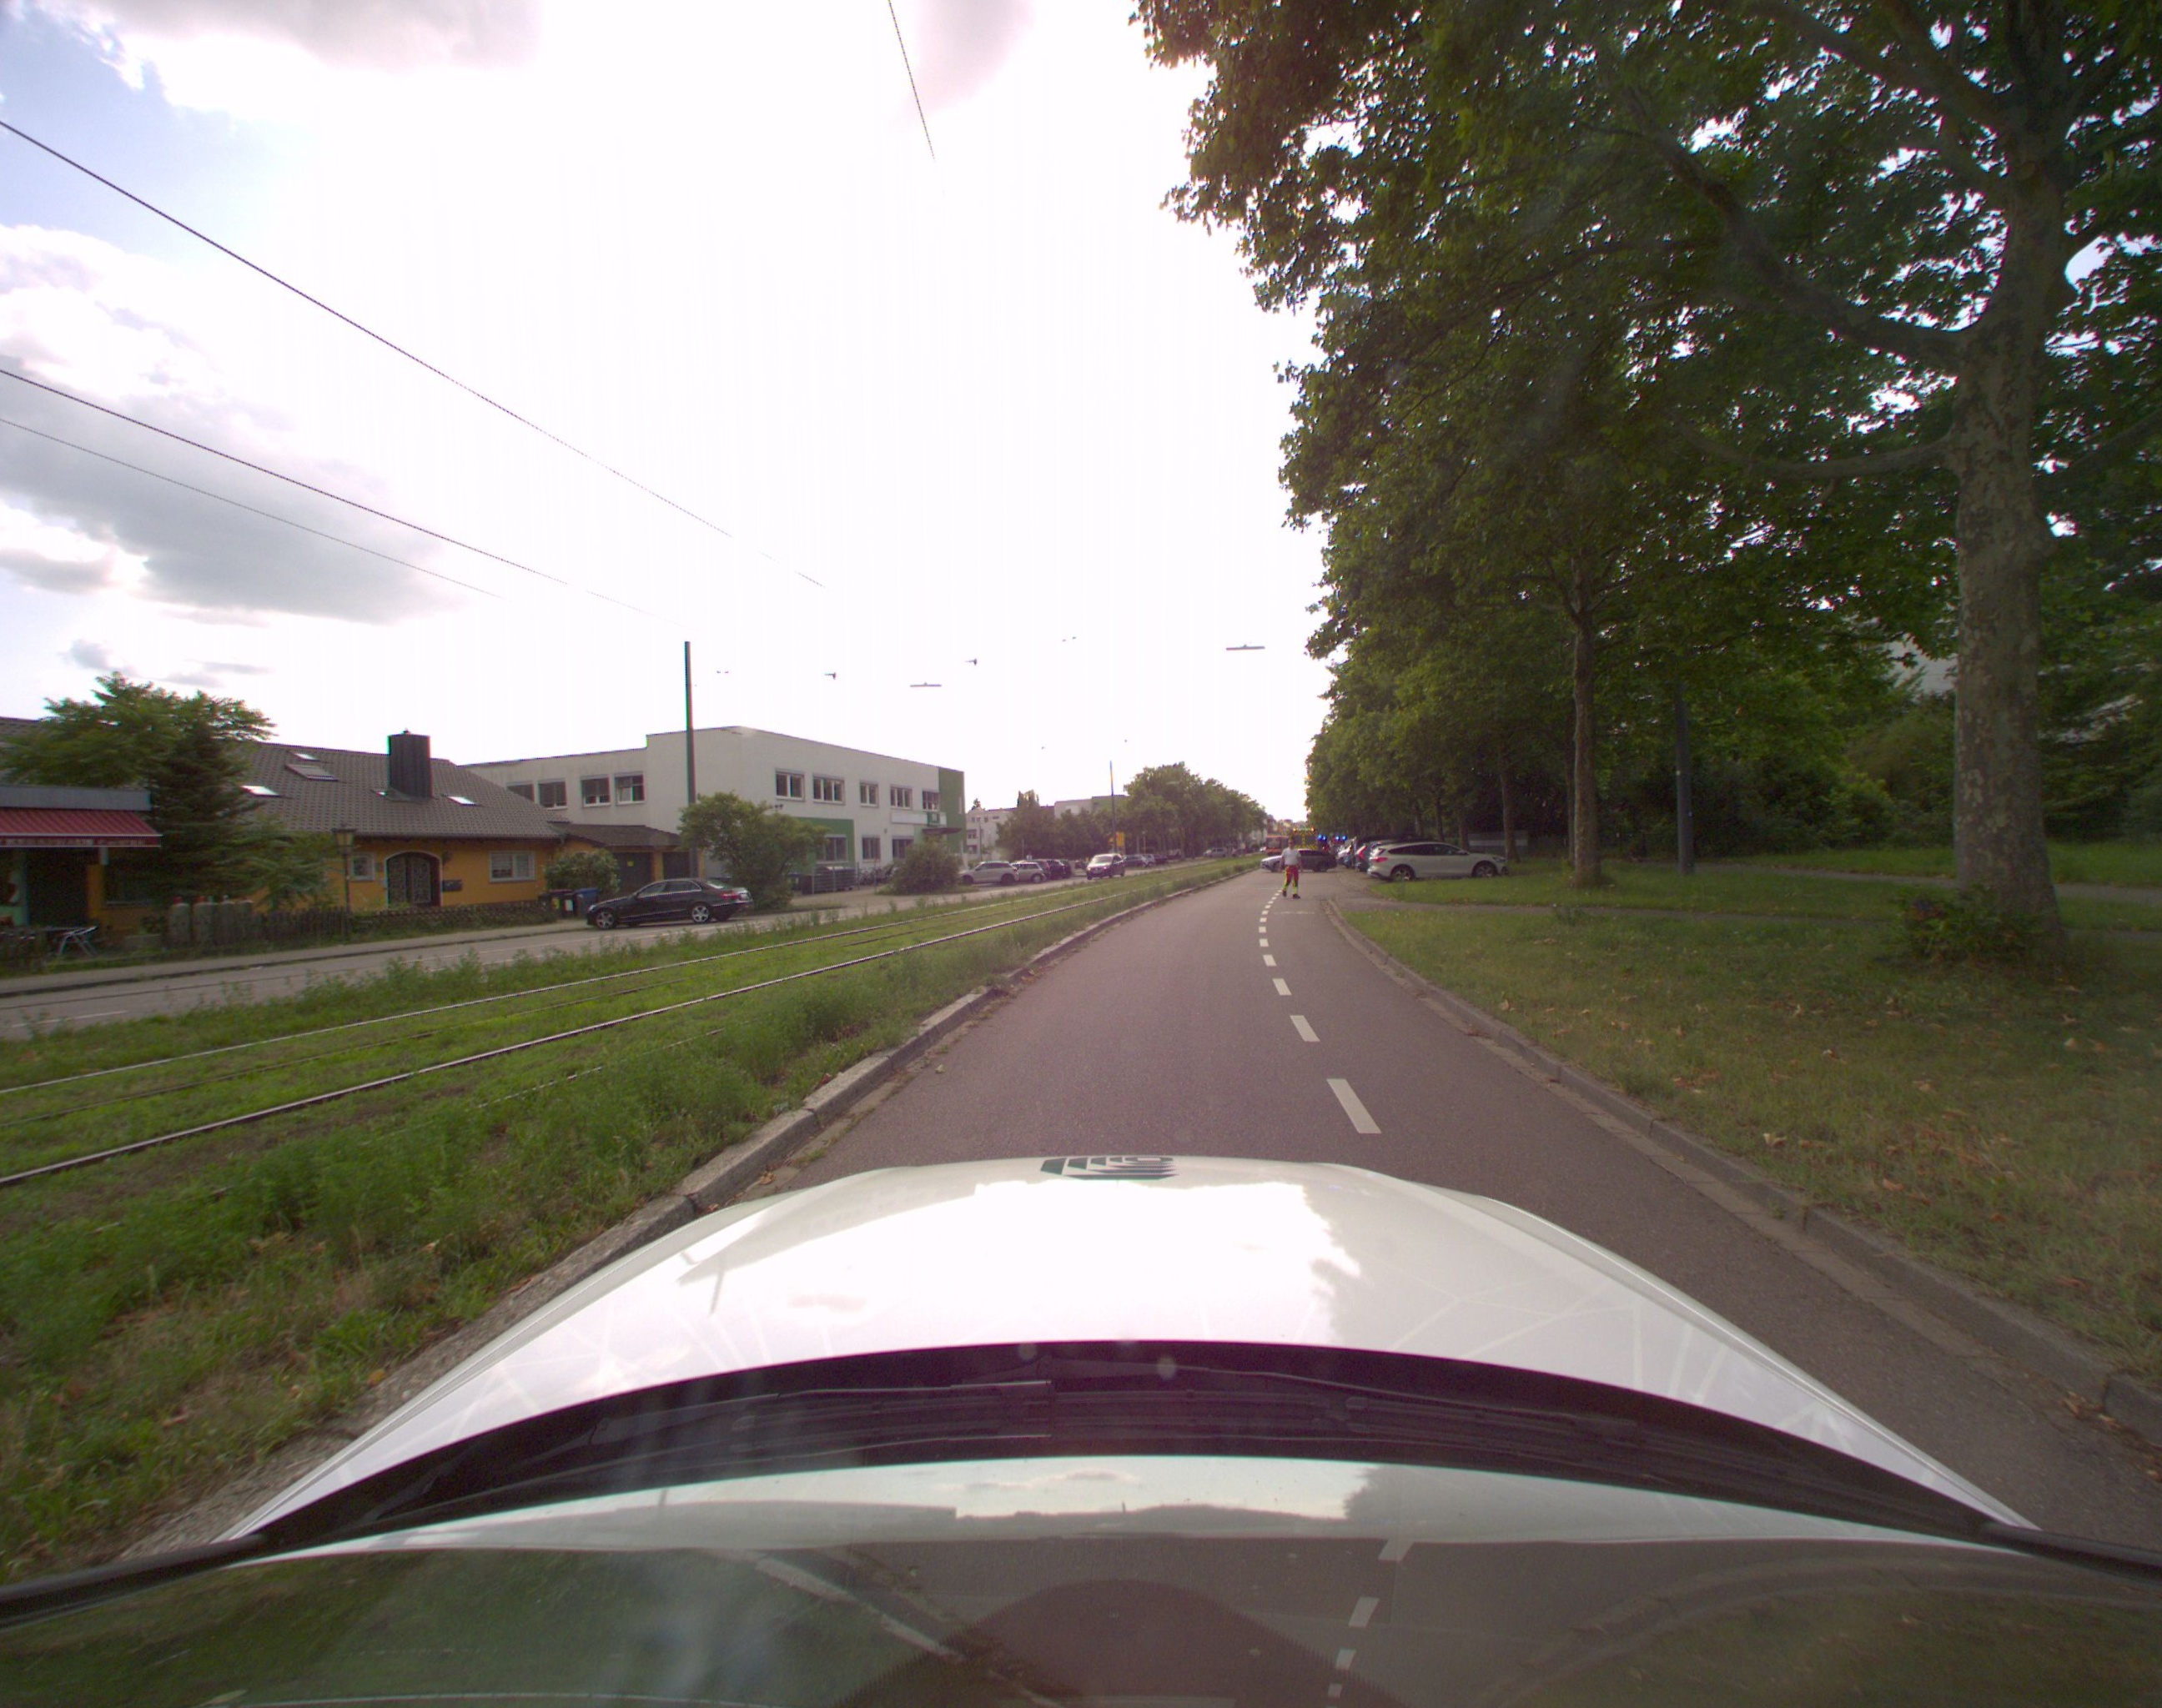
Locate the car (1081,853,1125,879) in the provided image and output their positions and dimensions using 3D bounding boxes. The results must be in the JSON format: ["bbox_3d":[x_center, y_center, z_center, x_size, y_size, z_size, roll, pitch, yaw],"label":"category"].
[{"bbox_3d":[1.587,0.811,56.973,1.978,1.557,4.388,-4,0,16],"label":"car"}]

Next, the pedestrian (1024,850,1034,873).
[{"bbox_3d":[-4.257,0.637,66.744,0.542,1.828,0.511,-3,-1,14],"label":"pedestrian"}]

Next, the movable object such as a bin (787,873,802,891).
[{"bbox_3d":[-16.585,1.624,47.147,0.564,1.042,0.567,-1,1,17],"label":"movable object such as a bin"}]

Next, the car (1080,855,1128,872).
[{"bbox_3d":[2.171,0.876,76.795,4.219,1.482,1.878,-1,0,-8],"label":"car"}]

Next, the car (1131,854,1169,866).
[{"bbox_3d":[8.501,0.742,100.343,4.240,1.482,1.869,-1,0,-23],"label":"car"}]

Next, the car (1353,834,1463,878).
[{"bbox_3d":[14.391,0.100,36.100,4.345,1.639,1.764,-4,-1,18],"label":"car"}]

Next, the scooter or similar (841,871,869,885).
[{"bbox_3d":[-14.596,1.544,52.576,1.722,0.899,0.461,-1,-1,17],"label":"scooter or similar"}]

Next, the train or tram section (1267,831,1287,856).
[{"bbox_3d":[30.488,-1.545,126.711,2.492,3.584,7.477,-4,-1,16],"label":"train or tram section"}]

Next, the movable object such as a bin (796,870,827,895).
[{"bbox_3d":[-14.417,1.505,43.548,0.997,1.234,1.262,-1,1,19],"label":"movable object such as a bin"}]

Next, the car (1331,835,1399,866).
[{"bbox_3d":[21.033,-0.256,60.453,4.514,2.043,1.862,-3,-1,12],"label":"car"}]

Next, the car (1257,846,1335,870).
[{"bbox_3d":[13.356,0.242,50.809,4.436,1.385,1.767,-1,0,2],"label":"car"}]

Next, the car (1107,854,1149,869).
[{"bbox_3d":[5.199,0.797,89.540,4.235,1.482,1.871,-1,0,-19],"label":"car"}]

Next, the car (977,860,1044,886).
[{"bbox_3d":[-4.702,1.223,54.321,4.226,1.482,1.875,-3,0,-13],"label":"car"}]

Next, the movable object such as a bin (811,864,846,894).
[{"bbox_3d":[-13.928,1.373,45.012,0.997,1.519,1.720,-1,1,19],"label":"movable object such as a bin"}]

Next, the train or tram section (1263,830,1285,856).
[{"bbox_3d":[28.397,-1.585,119.545,2.492,3.584,7.477,-4,-1,16],"label":"train or tram section"}]

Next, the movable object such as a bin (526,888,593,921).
[{"bbox_3d":[-19.410,1.870,30.349,1.245,1.092,1.625,-3,0,15],"label":"movable object such as a bin"}]

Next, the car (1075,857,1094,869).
[{"bbox_3d":[0.598,1.410,127.599,1.978,1.750,4.018,-1,0,16],"label":"car"}]

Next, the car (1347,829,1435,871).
[{"bbox_3d":[17.859,-0.231,47.175,4.511,2.123,1.864,-4,-1,16],"label":"car"}]

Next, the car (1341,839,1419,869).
[{"bbox_3d":[19.545,0.032,53.426,4.515,1.660,1.862,-3,-1,12],"label":"car"}]

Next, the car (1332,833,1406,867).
[{"bbox_3d":[19.757,-0.250,56.018,4.514,2.001,1.862,-3,-1,12],"label":"car"}]

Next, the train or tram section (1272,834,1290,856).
[{"bbox_3d":[34.686,-1.467,141.007,2.492,3.584,7.477,-4,-1,16],"label":"train or tram section"}]

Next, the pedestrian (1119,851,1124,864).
[{"bbox_3d":[5.139,0.448,104.048,0.462,1.676,0.606,-3,0,15],"label":"pedestrian"}]

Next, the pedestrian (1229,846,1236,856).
[{"bbox_3d":[21.733,-0.441,116.953,0.874,1.525,0.754,-1,-1,16],"label":"pedestrian"}]

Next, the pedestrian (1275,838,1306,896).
[{"bbox_3d":[6.197,0.385,24.149,0.798,1.686,0.854,-2,0,12],"label":"pedestrian"}]

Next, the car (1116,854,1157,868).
[{"bbox_3d":[6.298,0.765,92.400,4.235,1.482,1.871,-1,0,-19],"label":"car"}]

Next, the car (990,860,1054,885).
[{"bbox_3d":[-4.166,1.260,57.114,4.226,1.482,1.875,-3,0,-13],"label":"car"}]

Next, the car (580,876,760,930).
[{"bbox_3d":[-12.813,1.511,25.633,4.626,1.407,1.881,-3,-2,-4],"label":"car"}]

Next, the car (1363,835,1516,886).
[{"bbox_3d":[12.533,0.227,28.795,4.626,1.473,1.854,-4,0,13],"label":"car"}]

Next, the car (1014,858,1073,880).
[{"bbox_3d":[-2.902,1.135,63.092,4.226,1.482,1.875,-3,0,-13],"label":"car"}]

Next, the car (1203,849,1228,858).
[{"bbox_3d":[26.842,-0.108,162.512,4.632,1.633,1.869,-3,0,-23],"label":"car"}]

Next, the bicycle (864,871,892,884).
[{"bbox_3d":[-13.725,1.577,55.116,1.843,0.899,0.461,-1,-1,17],"label":"bicycle"}]

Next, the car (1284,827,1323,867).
[{"bbox_3d":[17.446,-0.524,63.628,2.620,2.966,6.329,0,0,18],"label":"car"}]

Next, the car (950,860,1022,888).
[{"bbox_3d":[-6.001,1.240,51.393,4.233,1.482,1.872,-3,0,-18],"label":"car"}]

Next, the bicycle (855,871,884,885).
[{"bbox_3d":[-14.032,1.570,54.008,1.843,0.899,0.461,-1,-1,17],"label":"bicycle"}]

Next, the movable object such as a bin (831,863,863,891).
[{"bbox_3d":[-13.397,1.310,46.631,0.997,1.519,1.612,-1,1,19],"label":"movable object such as a bin"}]

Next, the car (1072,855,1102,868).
[{"bbox_3d":[0.818,1.046,112.403,2.011,1.750,3.952,-1,0,-42],"label":"car"}]

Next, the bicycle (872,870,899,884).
[{"bbox_3d":[-13.454,1.581,55.979,1.843,0.899,0.461,-1,-1,17],"label":"bicycle"}]

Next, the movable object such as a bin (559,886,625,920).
[{"bbox_3d":[-17.993,1.799,30.017,1.245,1.101,1.625,-3,0,15],"label":"movable object such as a bin"}]

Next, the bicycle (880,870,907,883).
[{"bbox_3d":[-13.103,1.564,56.982,1.843,0.899,0.461,-1,-1,17],"label":"bicycle"}]

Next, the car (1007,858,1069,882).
[{"bbox_3d":[-3.198,1.171,60.001,4.226,1.482,1.875,-3,0,-13],"label":"car"}]

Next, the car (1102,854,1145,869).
[{"bbox_3d":[4.508,0.791,86.721,4.235,1.482,1.871,-1,0,-19],"label":"car"}]

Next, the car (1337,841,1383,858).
[{"bbox_3d":[30.516,-0.464,89.270,4.514,1.608,1.862,-3,-1,12],"label":"car"}]

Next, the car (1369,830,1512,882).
[{"bbox_3d":[13.485,0.070,30.865,4.626,1.626,1.854,-4,0,13],"label":"car"}]

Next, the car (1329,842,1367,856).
[{"bbox_3d":[34.955,-0.620,106.899,4.514,1.608,1.862,-3,-1,12],"label":"car"}]

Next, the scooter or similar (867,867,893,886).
[{"bbox_3d":[-12.905,1.427,52.278,1.100,1.156,1.291,0,-1,-45],"label":"scooter or similar"}]

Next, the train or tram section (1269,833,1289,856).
[{"bbox_3d":[32.592,-1.506,133.887,2.492,3.584,7.477,-4,-1,16],"label":"train or tram section"}]
